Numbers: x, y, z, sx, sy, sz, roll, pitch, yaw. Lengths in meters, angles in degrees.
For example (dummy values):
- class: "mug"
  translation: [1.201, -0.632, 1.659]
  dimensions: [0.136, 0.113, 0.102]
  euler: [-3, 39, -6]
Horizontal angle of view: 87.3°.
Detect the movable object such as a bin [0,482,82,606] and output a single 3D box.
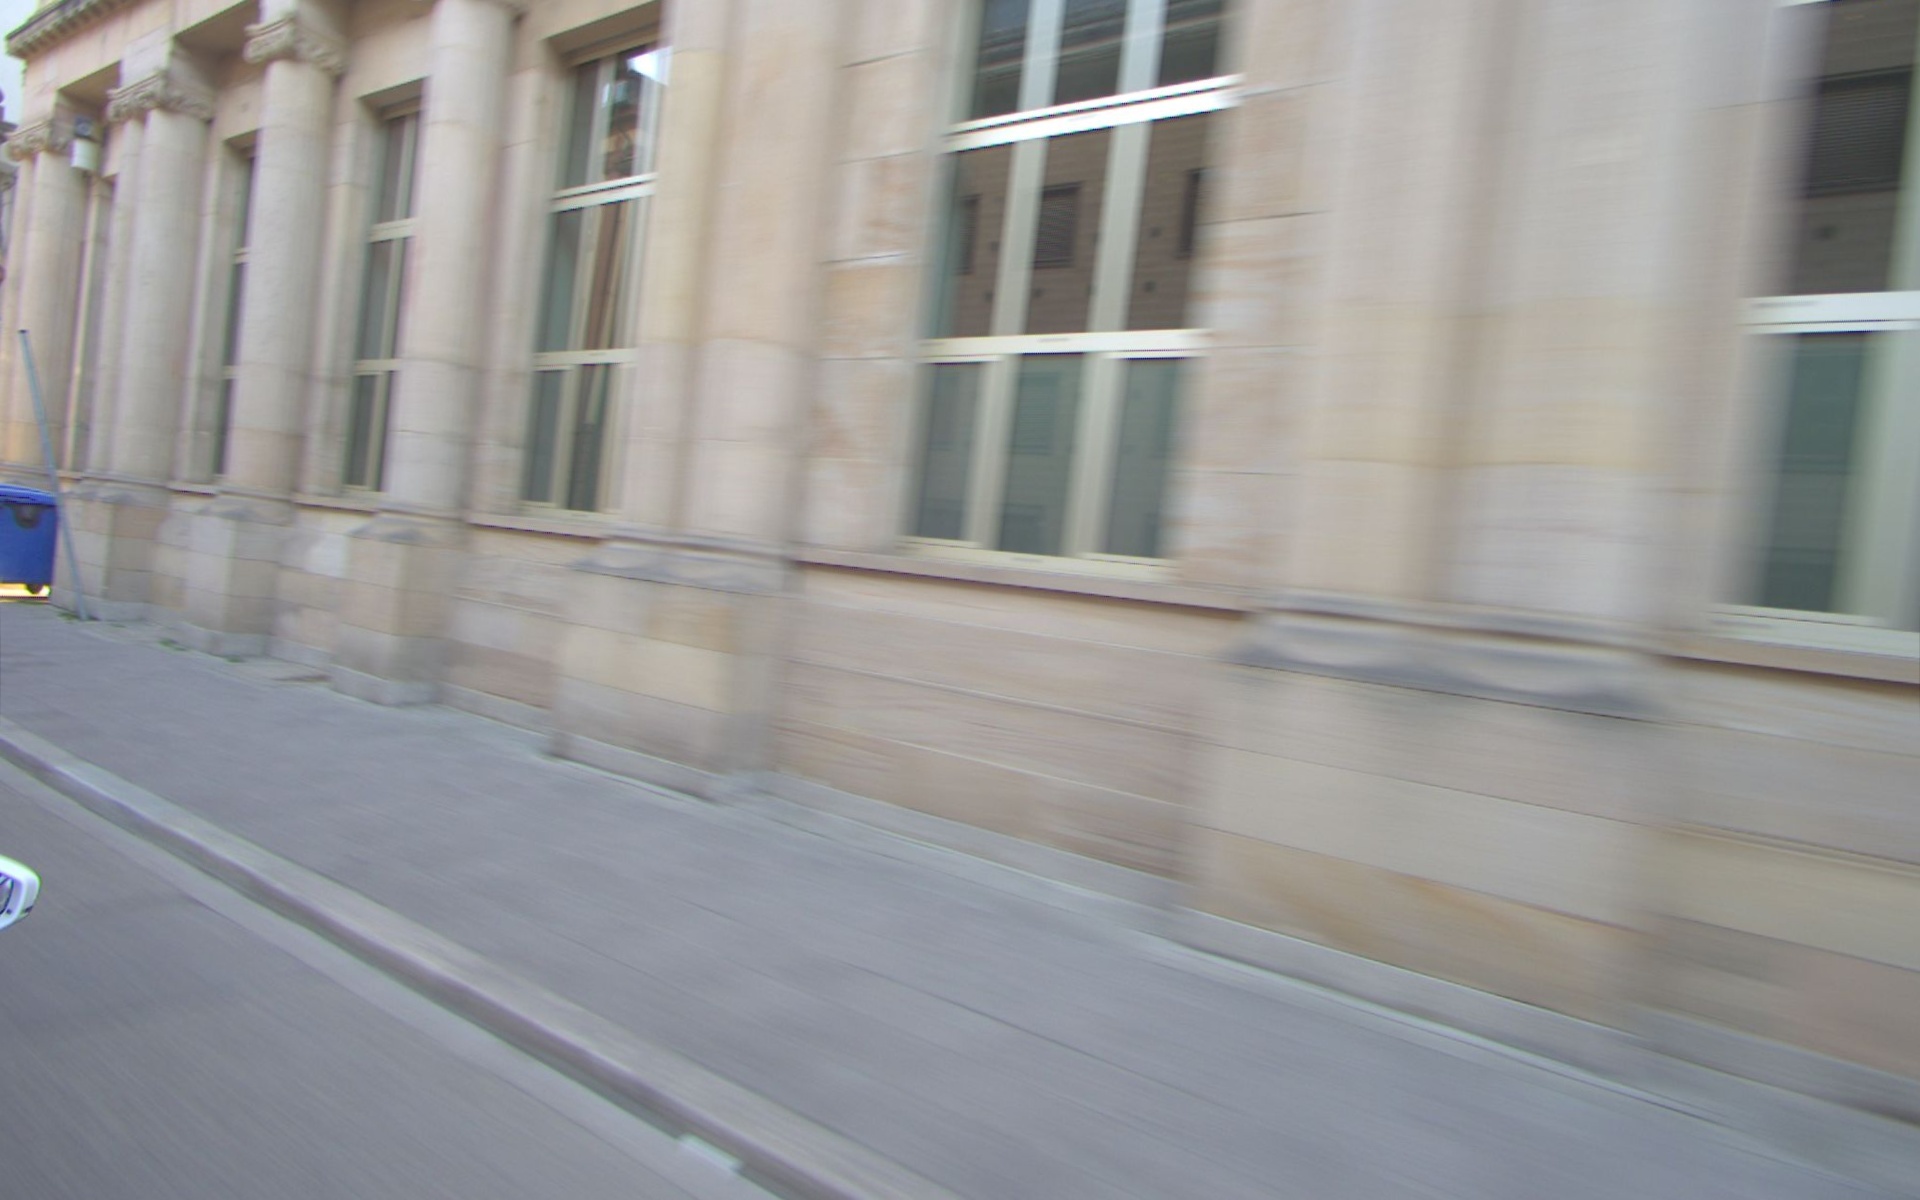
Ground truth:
- class: "movable object such as a bin"
  translation: [-11.614, -0.713, 12.258]
  dimensions: [1.220, 1.410, 0.991]
  euler: [7, 2, 32]
